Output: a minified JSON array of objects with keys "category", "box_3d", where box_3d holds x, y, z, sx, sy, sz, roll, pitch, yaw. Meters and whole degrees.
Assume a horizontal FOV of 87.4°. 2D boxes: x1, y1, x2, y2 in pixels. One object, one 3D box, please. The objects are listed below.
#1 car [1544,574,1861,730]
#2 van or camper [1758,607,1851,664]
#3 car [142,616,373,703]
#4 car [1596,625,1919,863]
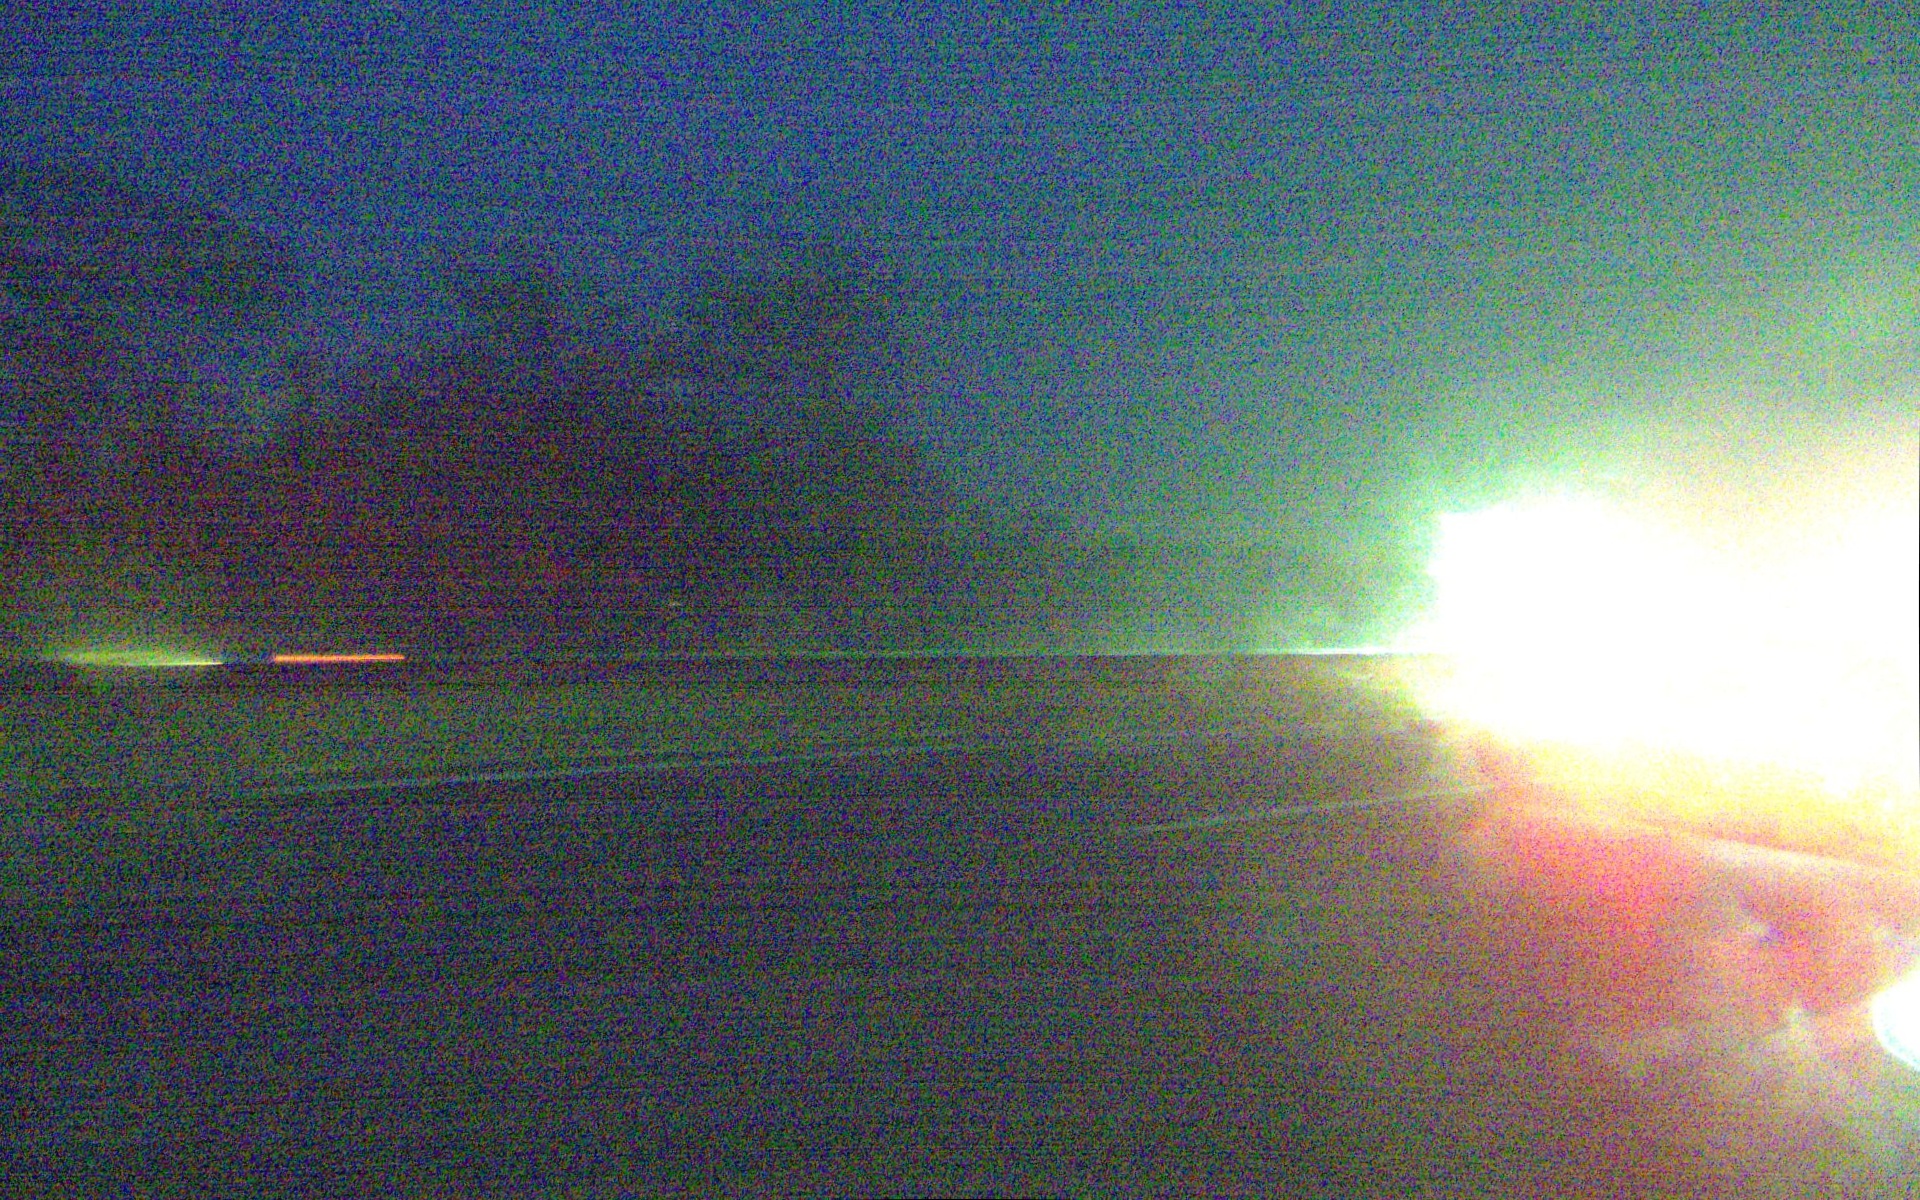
[{"category":"car","box_3d":[11.998,0.773,16.113,5.565,2.132,2.112,2,0,-31]},{"category":"van or camper","box_3d":[58.924,2.489,70.066,7.590,3.750,2.502,2,0,-30]},{"category":"car","box_3d":[-15.223,1.273,22.057,3.953,1.712,1.753,2,0,-30]},{"category":"car","box_3d":[7.070,0.949,8.147,4.200,1.450,1.647,1,0,-33]}]
